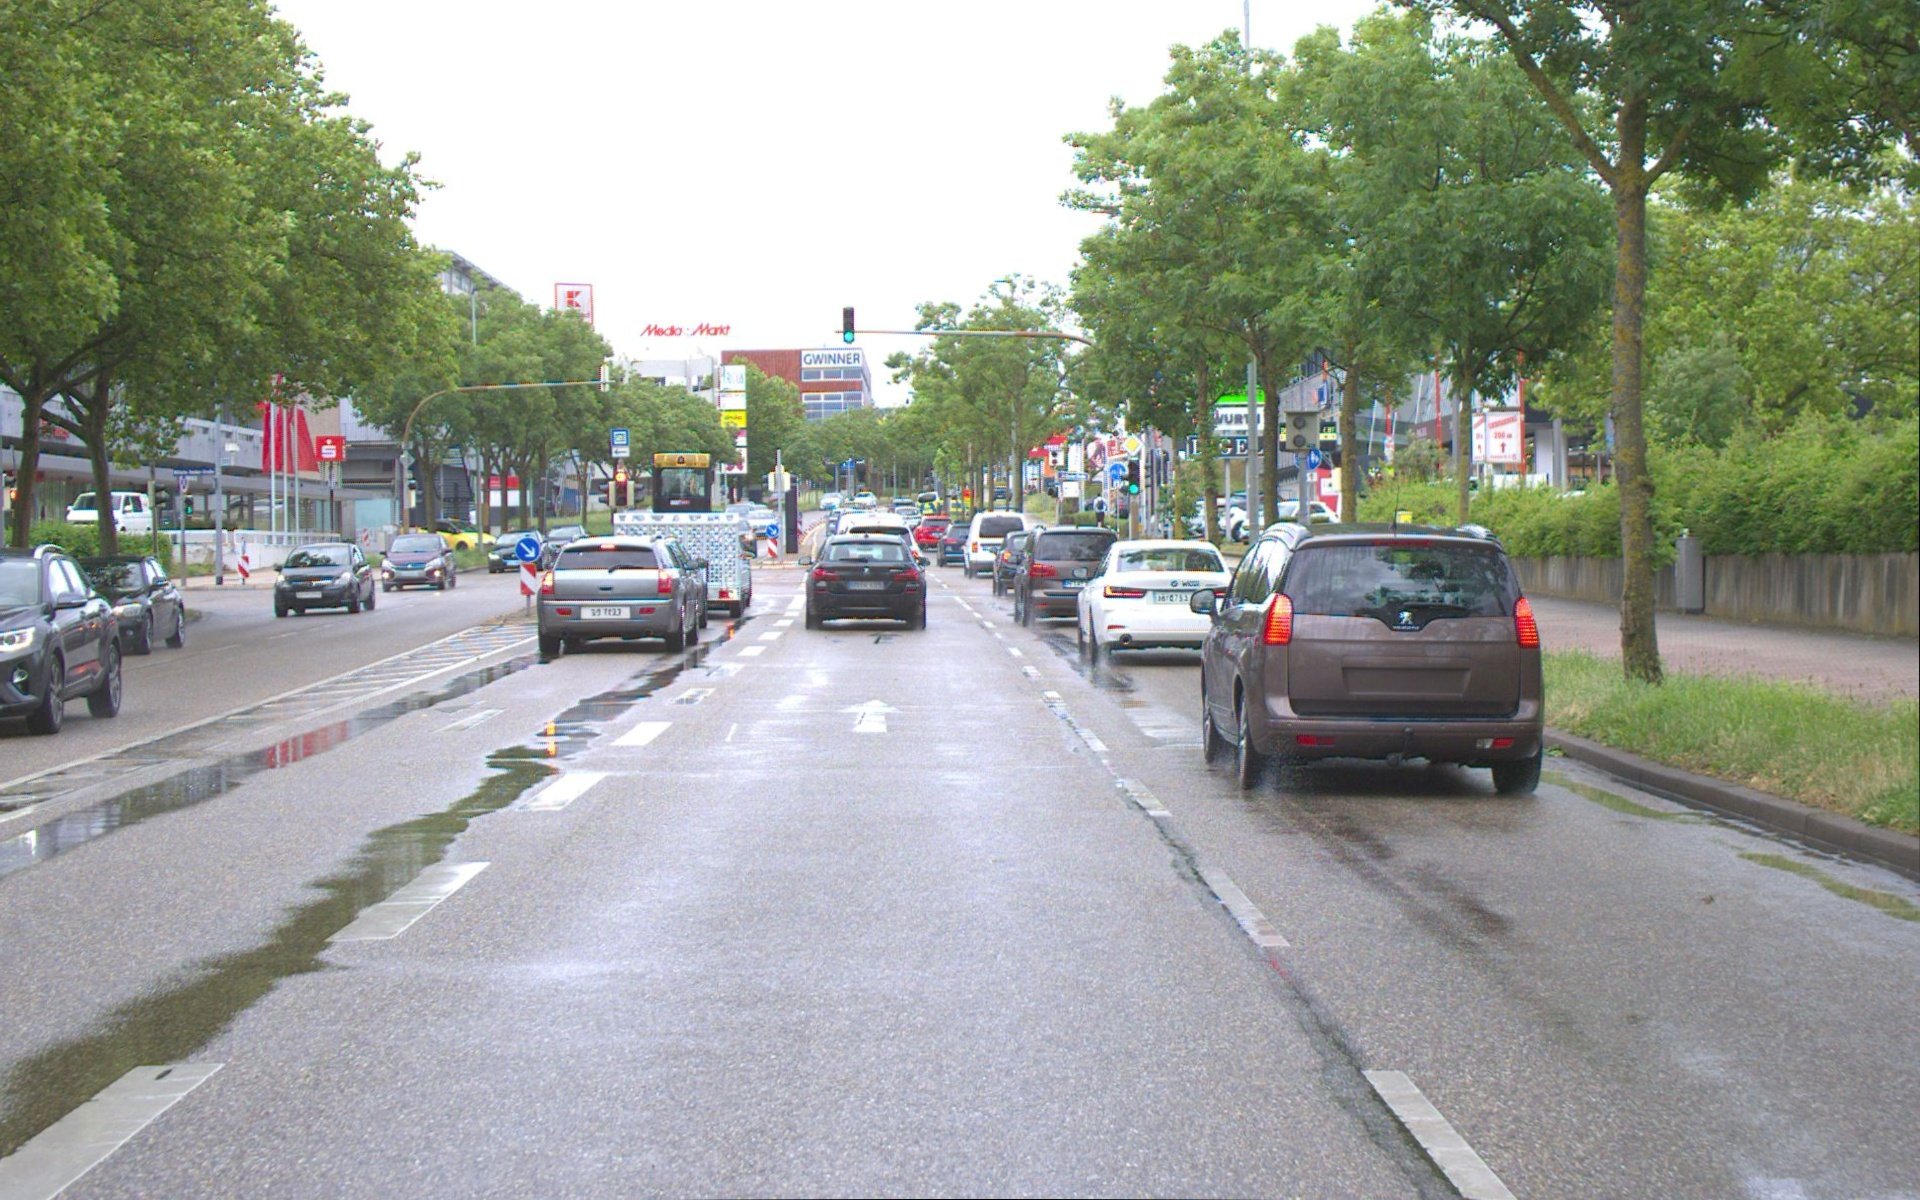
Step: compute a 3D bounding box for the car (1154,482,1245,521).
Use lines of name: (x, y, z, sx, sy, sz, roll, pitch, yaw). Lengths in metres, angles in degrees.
car: (10.175, -4.201, 146.158, 3.589, 1.530, 1.796, -3, 3, -41)

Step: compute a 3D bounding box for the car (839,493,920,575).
car: (-2.066, -1.673, 87.816, 1.993, 2.007, 4.000, 1, 1, -1)

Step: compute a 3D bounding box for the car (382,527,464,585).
car: (-14.351, -1.189, 92.058, 1.709, 1.460, 4.086, -2, 1, -3)

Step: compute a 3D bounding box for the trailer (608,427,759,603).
trailer: (-4.777, -1.488, 60.250, 2.372, 2.887, 5.546, -1, 1, -3)

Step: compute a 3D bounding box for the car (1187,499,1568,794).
car: (2.475, 0.204, 21.380, 1.726, 1.618, 4.471, -1, 1, -1)

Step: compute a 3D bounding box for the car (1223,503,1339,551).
car: (11.246, -2.569, 120.193, 1.930, 1.571, 4.278, 0, 2, 40)

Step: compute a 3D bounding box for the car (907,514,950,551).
car: (-1.289, -2.750, 140.206, 1.695, 1.438, 3.989, -1, 1, -1)

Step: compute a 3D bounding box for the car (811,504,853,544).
car: (-6.524, -3.875, 175.779, 1.993, 2.007, 4.000, 1, 1, -1)

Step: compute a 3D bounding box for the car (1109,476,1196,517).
car: (9.377, -5.050, 167.936, 4.111, 1.898, 1.800, -1, 2, 0)

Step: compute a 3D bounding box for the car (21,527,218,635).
car: (-12.136, -0.308, 49.906, 1.736, 1.424, 4.538, -2, 1, 0)

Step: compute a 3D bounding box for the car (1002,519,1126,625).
car: (1.650, -0.489, 56.046, 1.801, 1.581, 4.451, 1, 2, -1)

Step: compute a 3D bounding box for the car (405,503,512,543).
car: (-20.299, -3.111, 139.068, 3.994, 1.546, 1.896, 0, 2, 33)

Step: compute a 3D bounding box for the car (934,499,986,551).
car: (-0.012, -2.469, 114.327, 1.685, 1.678, 3.403, 1, 1, -1)

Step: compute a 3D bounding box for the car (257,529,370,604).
car: (-13.387, -0.724, 71.365, 1.709, 1.460, 4.086, -2, 1, -3)

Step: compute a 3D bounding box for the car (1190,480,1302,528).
car: (11.048, -3.717, 132.729, 4.016, 1.657, 1.982, -5, 4, -40)

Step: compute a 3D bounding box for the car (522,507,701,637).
car: (-4.513, -0.411, 45.172, 1.907, 1.573, 4.881, -1, 1, -1)

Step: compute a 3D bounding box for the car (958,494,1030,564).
car: (0.912, -1.966, 94.653, 1.781, 1.860, 4.001, -1, 2, -2)

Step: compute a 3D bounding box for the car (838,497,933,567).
car: (-1.544, -1.405, 70.103, 1.682, 1.372, 4.001, -1, 2, -5)

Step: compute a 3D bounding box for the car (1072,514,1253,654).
car: (2.364, -0.236, 41.197, 1.801, 1.539, 4.620, 1, 1, -1)

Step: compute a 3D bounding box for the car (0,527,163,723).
car: (-7.911, 0.167, 28.033, 1.666, 1.457, 4.181, -2, 1, 2)

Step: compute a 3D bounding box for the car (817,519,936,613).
car: (-1.321, -0.559, 53.604, 1.781, 1.393, 4.001, 0, 1, -2)

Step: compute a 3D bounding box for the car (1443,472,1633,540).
car: (12.910, -2.106, 76.913, 3.987, 1.437, 1.655, -1, 2, 1)

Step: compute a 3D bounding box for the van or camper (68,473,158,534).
van or camper: (-28.876, -3.276, 117.312, 1.993, 1.960, 4.789, 1, 1, -2)
